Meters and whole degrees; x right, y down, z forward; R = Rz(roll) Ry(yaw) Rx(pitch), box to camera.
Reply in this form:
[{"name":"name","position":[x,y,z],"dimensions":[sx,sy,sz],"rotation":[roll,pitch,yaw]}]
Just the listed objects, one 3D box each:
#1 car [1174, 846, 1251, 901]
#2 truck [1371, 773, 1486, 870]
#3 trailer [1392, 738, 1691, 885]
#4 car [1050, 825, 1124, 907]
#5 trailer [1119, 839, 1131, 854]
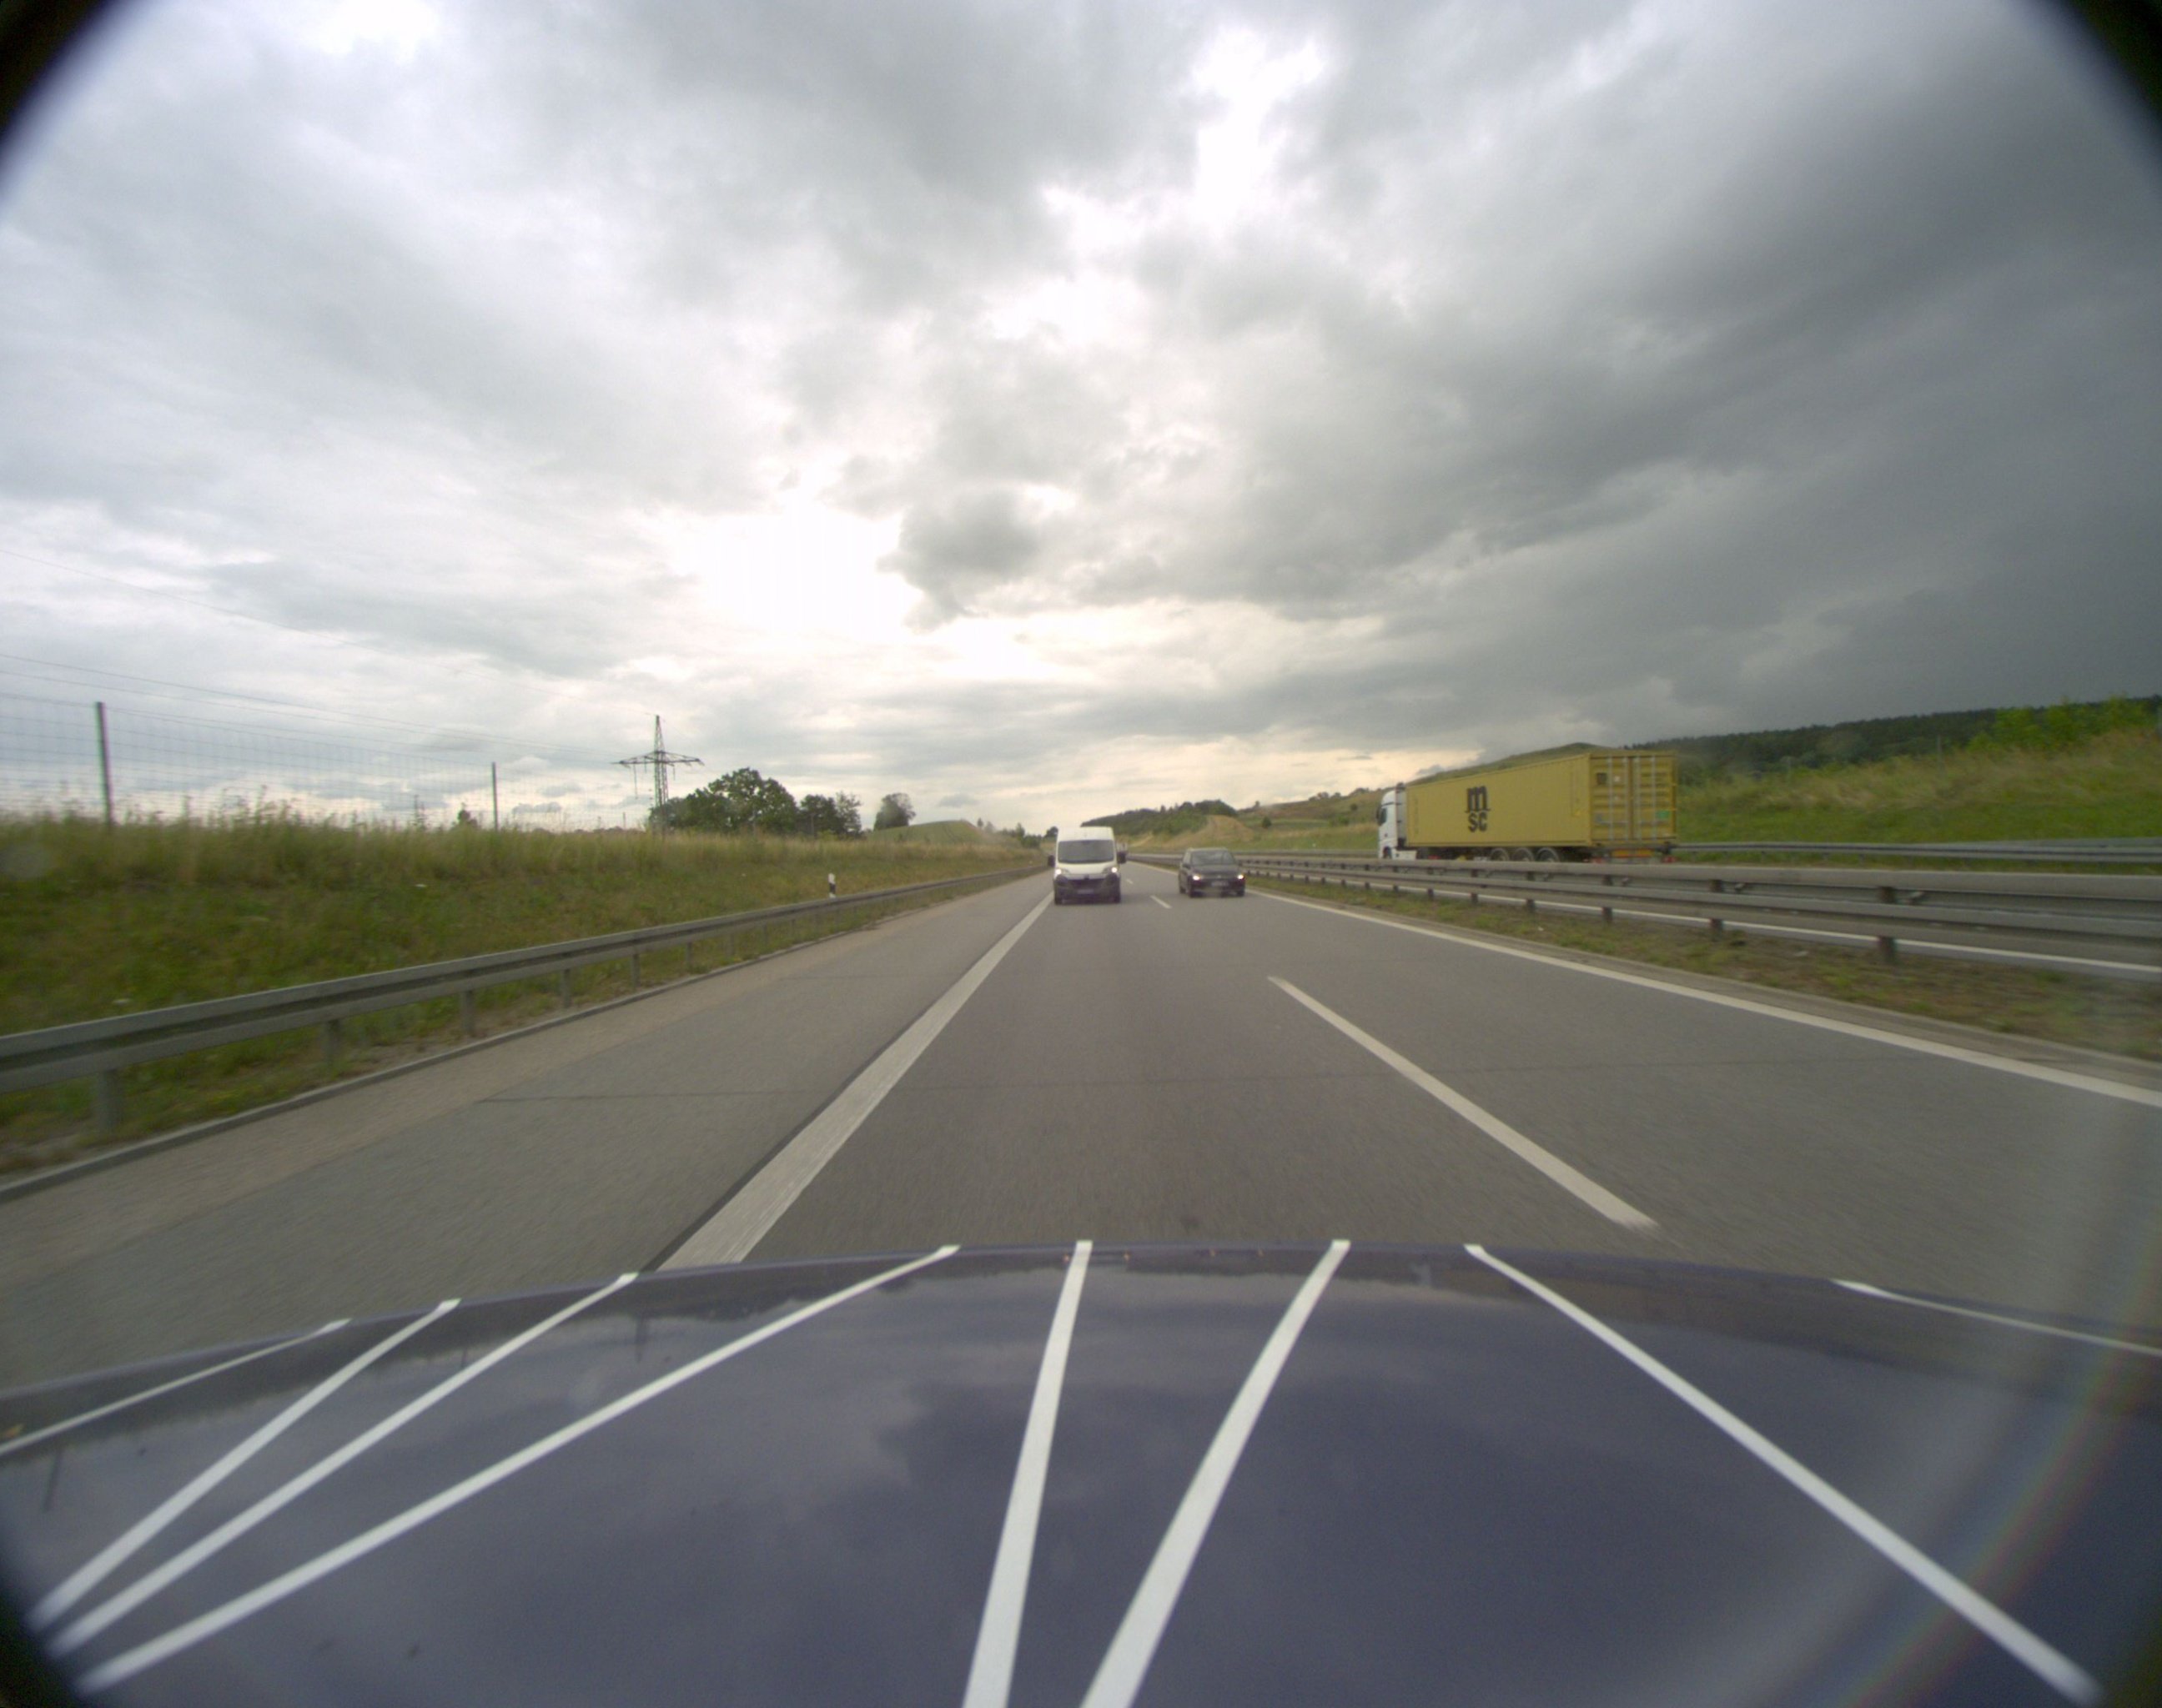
[{"name":"car","position":[4.477,0.582,26.698],"dimensions":[1.901,1.661,5.396],"rotation":[-2,1,2]},{"name":"truck","position":[15.496,-1.374,34.323],"dimensions":[2.599,3.903,5.587],"rotation":[-2,0,1]},{"name":"trailer","position":[15.401,-1.203,27.621],"dimensions":[2.596,3.903,13.701],"rotation":[-2,0,1]},{"name":"car","position":[0.202,0.338,25.995],"dimensions":[2.132,2.412,6.111],"rotation":[-2,0,0]},{"name":"trailer","position":[14.578,-2.566,251.698],"dimensions":[2.802,4.623,14.845],"rotation":[-4,0,0]}]
